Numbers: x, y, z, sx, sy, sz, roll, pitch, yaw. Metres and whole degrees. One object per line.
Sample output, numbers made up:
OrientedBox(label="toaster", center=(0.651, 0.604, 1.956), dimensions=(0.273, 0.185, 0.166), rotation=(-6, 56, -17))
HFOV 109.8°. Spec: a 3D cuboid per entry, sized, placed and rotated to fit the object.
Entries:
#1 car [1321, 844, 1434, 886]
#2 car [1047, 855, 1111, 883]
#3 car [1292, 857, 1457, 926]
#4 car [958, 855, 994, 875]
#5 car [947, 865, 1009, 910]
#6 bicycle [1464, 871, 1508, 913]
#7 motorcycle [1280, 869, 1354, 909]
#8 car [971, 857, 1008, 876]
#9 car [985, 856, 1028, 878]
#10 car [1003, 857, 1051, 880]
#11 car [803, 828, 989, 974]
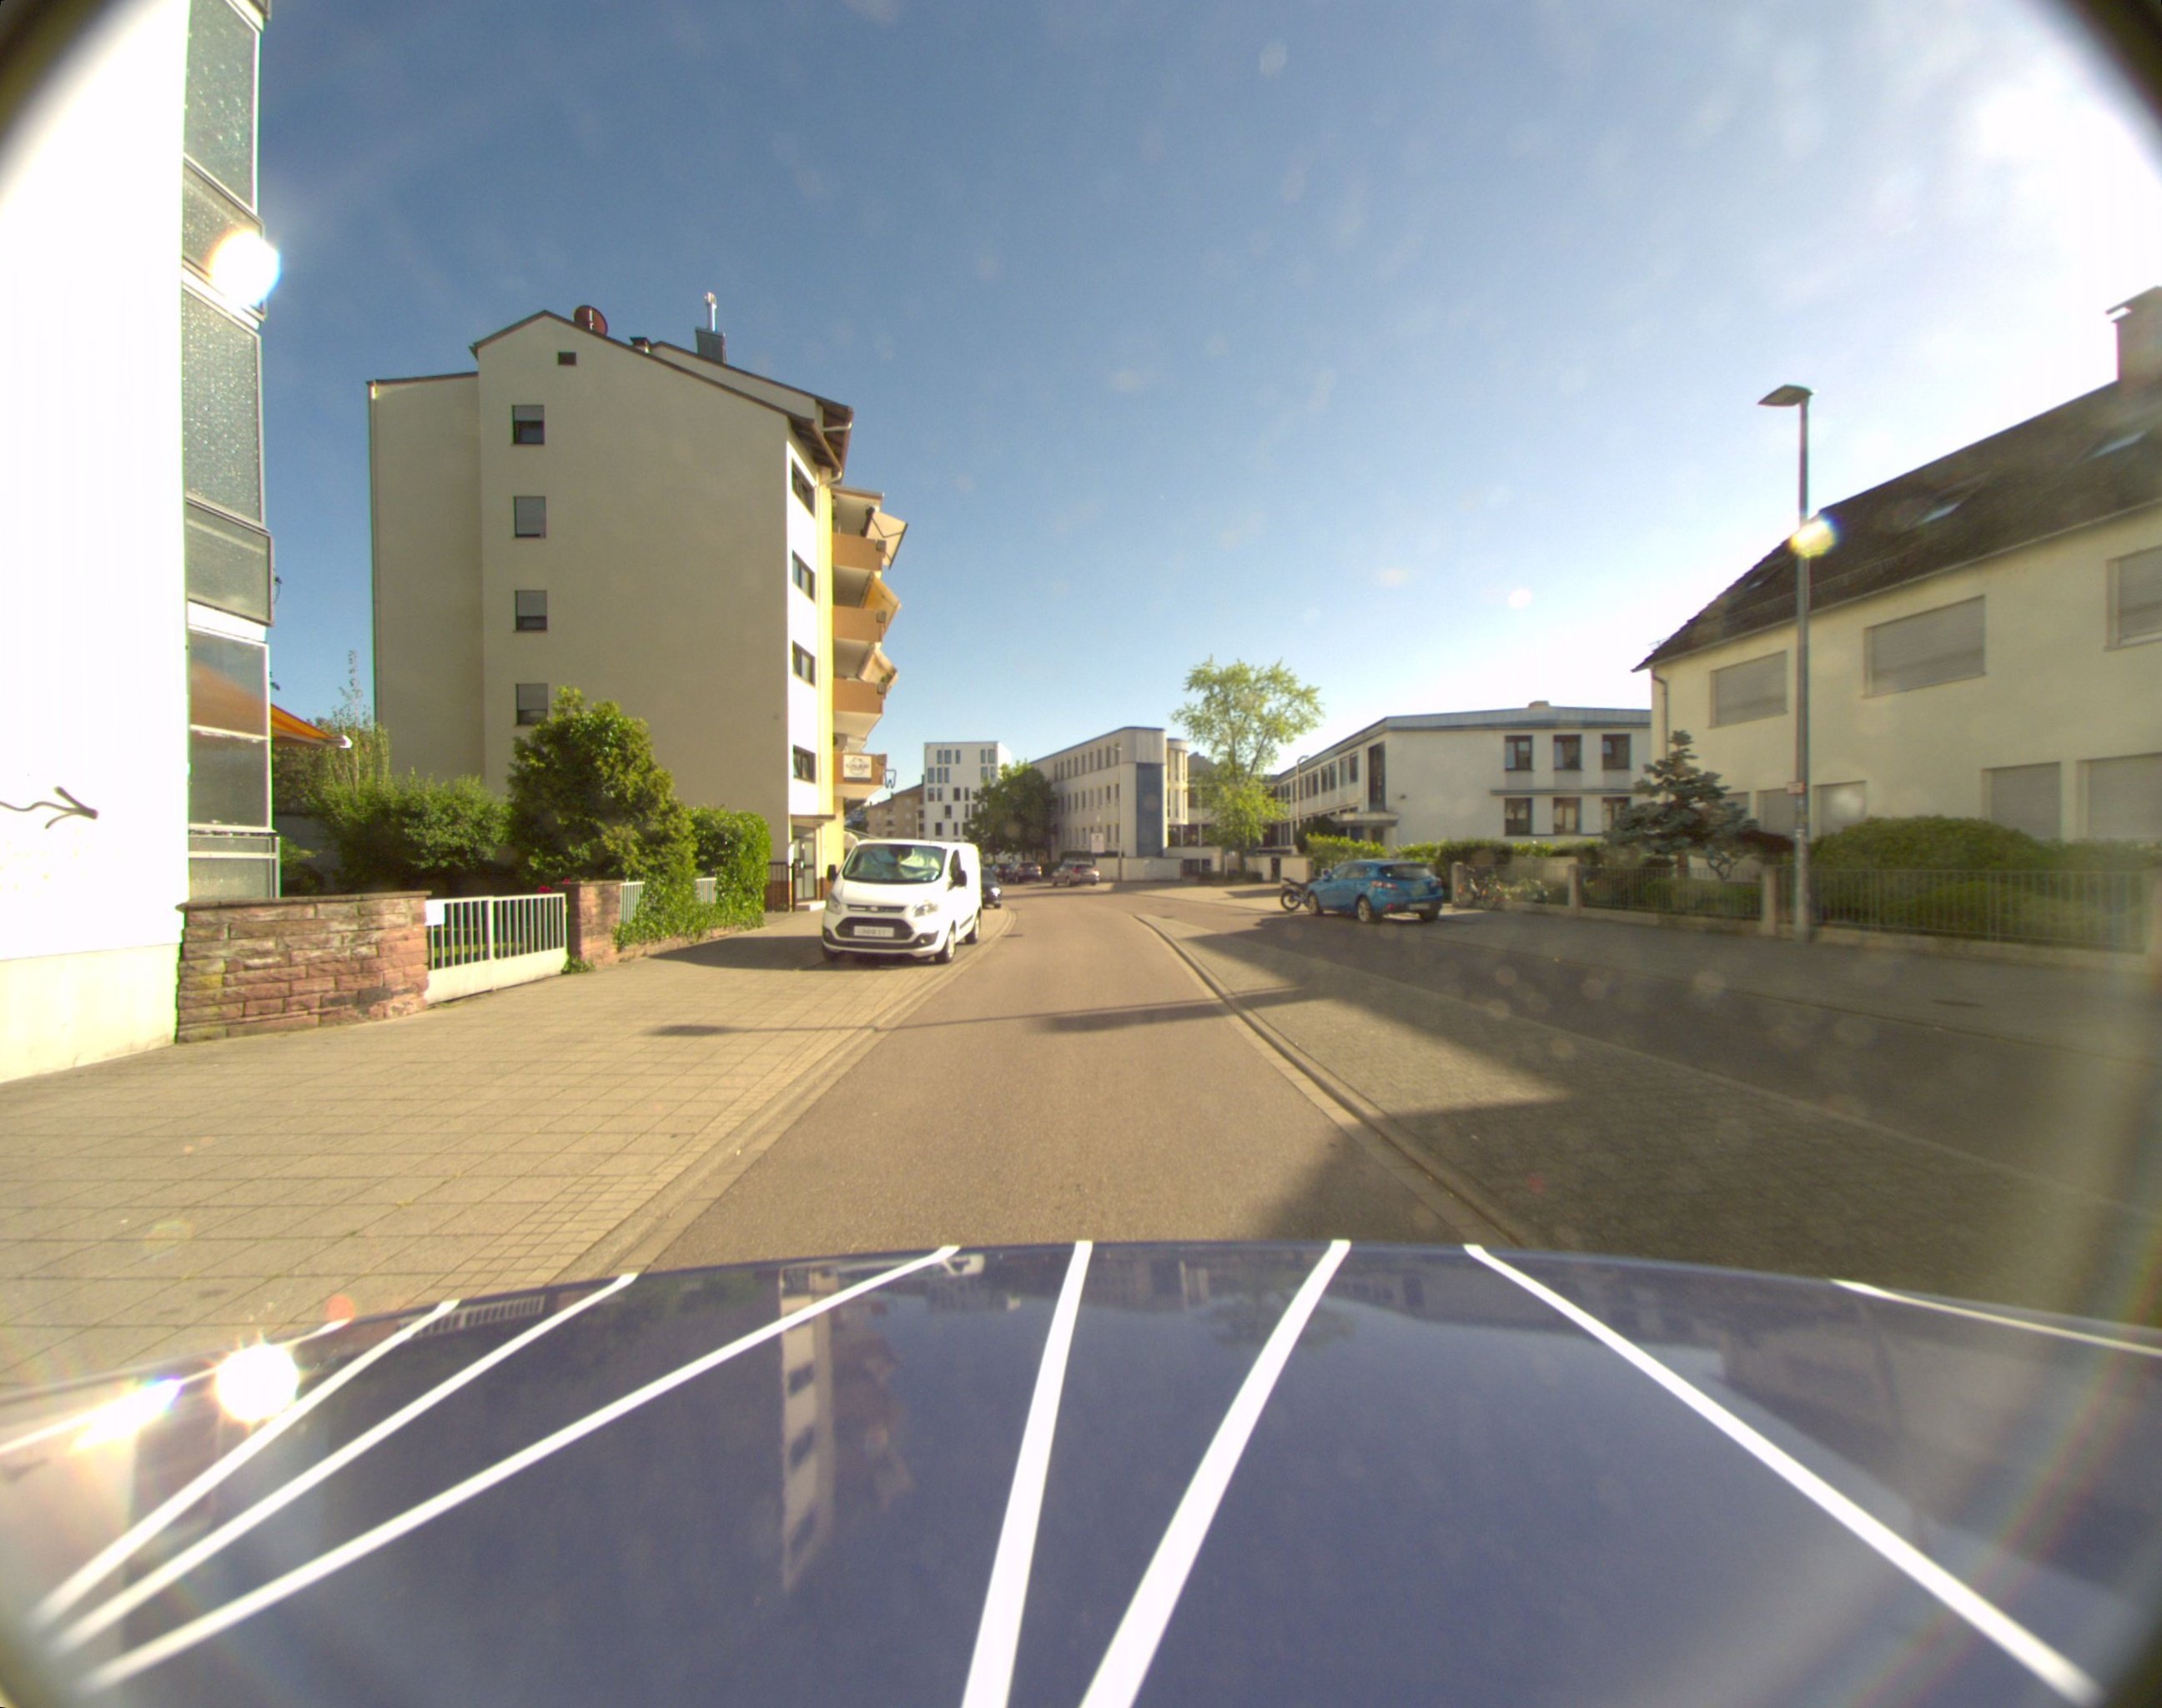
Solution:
OrientedBox(label="car", center=(12.362, 0.459, 31.887), dimensions=(3.997, 1.706, 2.000), rotation=(0, 0, 1))
OrientedBox(label="car", center=(-0.177, 0.889, 46.796), dimensions=(2.141, 1.604, 4.826), rotation=(-2, 1, -24))
OrientedBox(label="car", center=(7.029, 0.827, 18.784), dimensions=(1.885, 1.425, 4.411), rotation=(-2, 0, -8))
OrientedBox(label="car", center=(-9.926, 1.005, 71.411), dimensions=(2.141, 1.800, 4.826), rotation=(-2, 1, -22))
OrientedBox(label="car", center=(-3.761, 1.144, 27.172), dimensions=(1.760, 1.386, 3.995), rotation=(3, -1, -13))
OrientedBox(label="bicycle", center=(10.461, 0.971, 19.653), dimensions=(0.346, 1.009, 1.262), rotation=(0, 0, -7))
OrientedBox(label="motorcycle", center=(6.774, 1.016, 21.805), dimensions=(1.959, 1.089, 0.591), rotation=(-2, 0, 21))
OrientedBox(label="car", center=(-8.083, 1.069, 66.772), dimensions=(2.141, 1.604, 4.453), rotation=(-2, 1, -22))
OrientedBox(label="car", center=(-6.070, 1.034, 61.558), dimensions=(2.141, 1.604, 4.826), rotation=(-2, 1, -22))
OrientedBox(label="car", center=(-4.076, 1.047, 56.487), dimensions=(2.141, 1.604, 4.826), rotation=(-2, 1, -22))
OrientedBox(label="car", center=(-2.941, 0.684, 13.284), dimensions=(1.998, 2.002, 4.797), rotation=(2, 0, 0))
